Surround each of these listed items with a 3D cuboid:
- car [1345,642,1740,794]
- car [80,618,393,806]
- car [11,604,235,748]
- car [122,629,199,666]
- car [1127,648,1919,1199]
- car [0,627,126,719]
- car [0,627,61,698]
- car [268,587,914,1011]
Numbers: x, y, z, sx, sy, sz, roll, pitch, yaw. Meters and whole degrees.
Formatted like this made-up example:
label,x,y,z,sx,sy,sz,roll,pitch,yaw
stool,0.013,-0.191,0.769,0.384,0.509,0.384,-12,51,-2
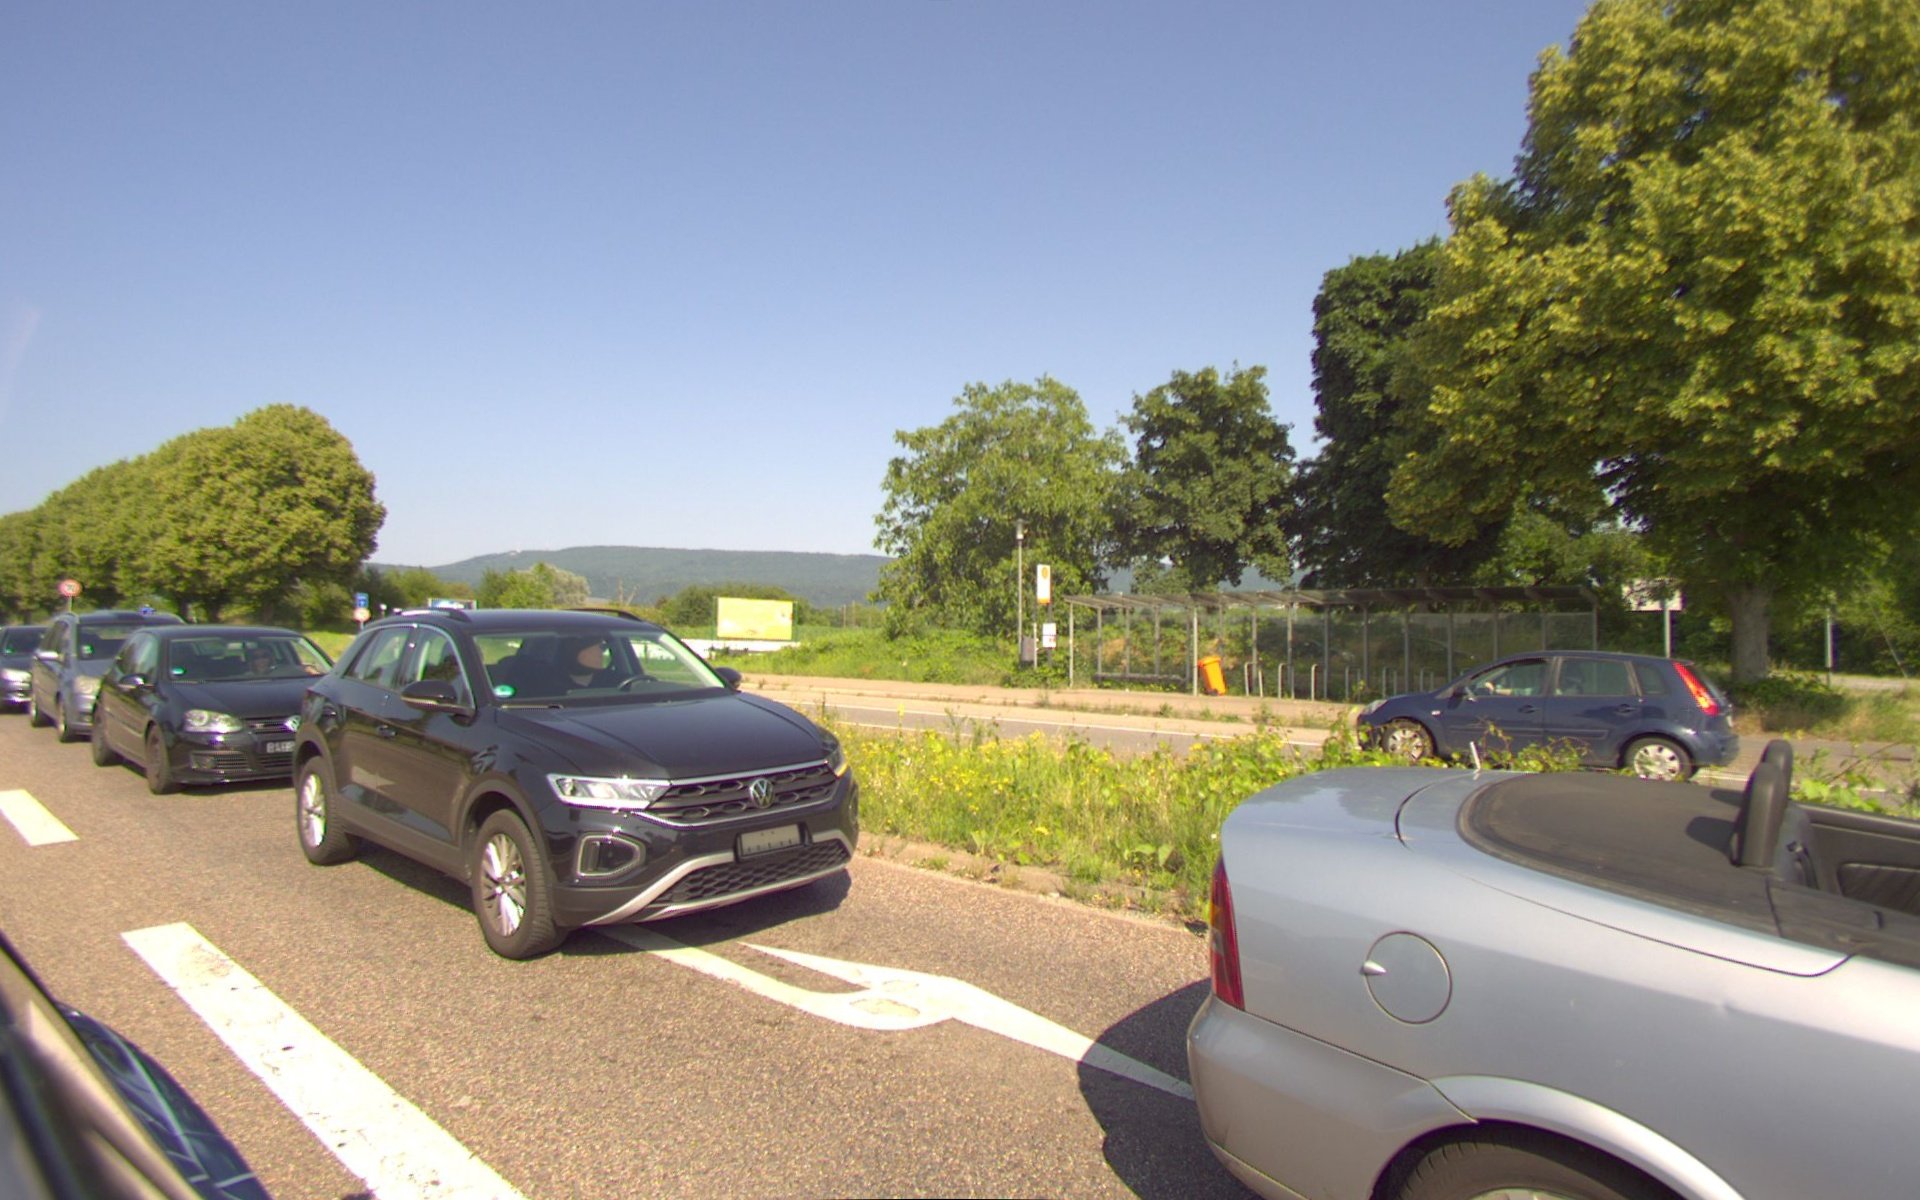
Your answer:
label,x,y,z,sx,sy,sz,roll,pitch,yaw
car,6.687,1.267,11.841,3.774,1.453,1.597,-1,-5,41
car,-7.268,0.940,10.011,4.096,1.486,1.648,-2,-2,42
car,-11.598,0.943,13.922,4.355,1.685,1.723,-2,-2,42
car,-35.881,2.097,45.380,4.143,1.527,1.864,-1,-1,39
car,2.427,0.772,1.415,4.096,1.345,1.656,-1,-3,42
car,-16.174,1.190,17.774,4.353,1.421,1.696,-1,-2,42
car,-21.400,1.337,22.312,4.639,1.436,1.784,-1,-1,41
car,-2.322,0.789,5.755,4.096,1.559,1.710,-2,-2,42
